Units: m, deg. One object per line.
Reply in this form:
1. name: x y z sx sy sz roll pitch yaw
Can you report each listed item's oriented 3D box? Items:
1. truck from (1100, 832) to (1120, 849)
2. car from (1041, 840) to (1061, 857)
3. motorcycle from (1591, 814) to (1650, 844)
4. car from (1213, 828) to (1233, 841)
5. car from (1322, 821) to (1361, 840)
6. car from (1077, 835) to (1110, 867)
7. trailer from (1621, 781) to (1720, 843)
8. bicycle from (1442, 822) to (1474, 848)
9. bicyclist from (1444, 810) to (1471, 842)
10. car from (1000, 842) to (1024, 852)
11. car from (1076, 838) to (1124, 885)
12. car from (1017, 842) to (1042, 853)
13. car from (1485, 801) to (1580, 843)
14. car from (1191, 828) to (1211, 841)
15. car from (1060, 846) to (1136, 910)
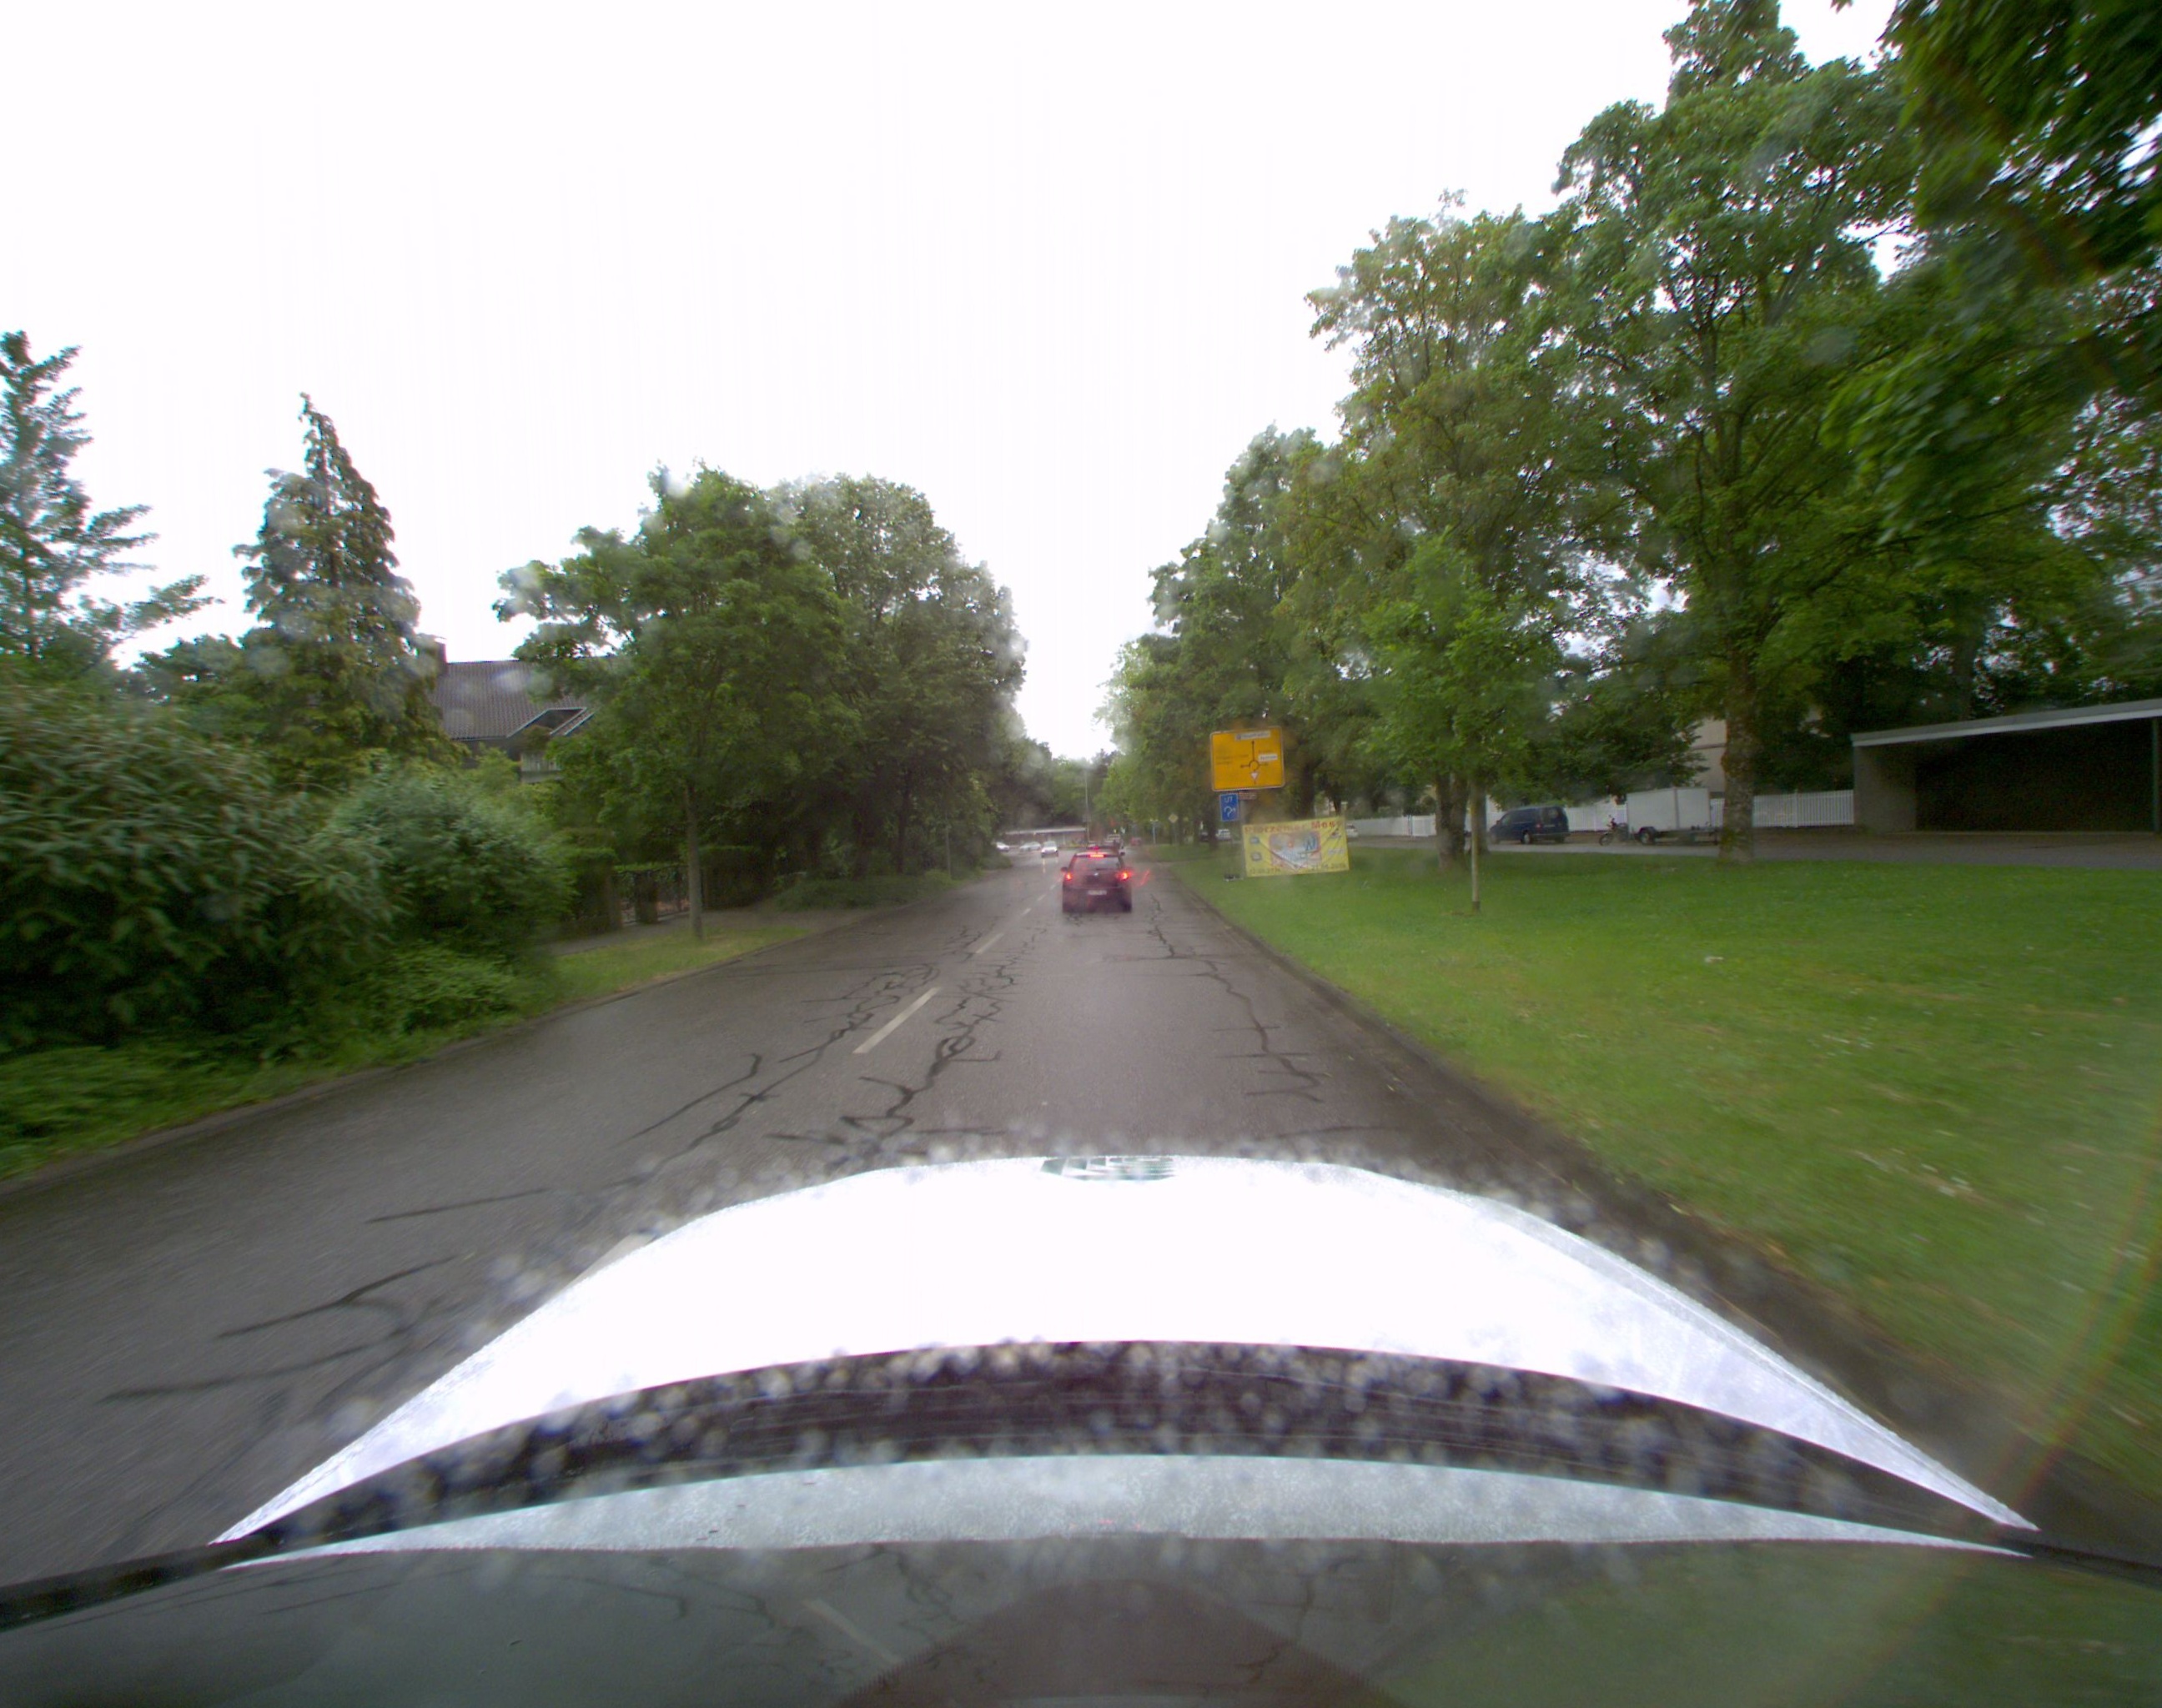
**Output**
1. truck: 3.878 -1.792 107.443 2.407 2.004 5.155 -3 1 3
2. car: -3.143 -0.583 85.203 1.758 1.614 4.142 -4 1 1
3. motorcycle: 21.878 -1.002 33.029 1.869 1.092 0.662 -2 2 21
4. car: 17.237 -2.372 98.972 1.796 1.406 4.002 -5 1 2
5. car: 21.187 -1.894 66.458 1.612 1.409 4.006 -4 2 -3
6. car: 0.804 -0.200 49.527 1.848 1.784 4.002 -3 0 2
7. trailer: 22.250 -1.526 30.837 1.433 2.154 2.947 -3 0 -3
8. bicycle: 17.017 -0.835 36.769 0.593 1.138 1.864 -2 0 2
9. bicyclist: 16.995 -1.265 36.757 0.742 1.390 1.000 -2 0 2
10. car: -11.544 -1.188 135.845 1.755 1.618 3.828 -1 1 40
11. car: 0.859 0.251 34.798 1.848 1.784 4.003 -3 1 2
12. car: -8.095 -1.036 128.279 1.592 1.427 4.035 -2 2 37
13. car: 22.108 -1.532 40.095 1.936 1.809 4.647 -5 2 -1
14. car: 14.524 -2.325 98.810 1.796 1.385 4.002 -5 1 2
15. car: 0.482 0.568 21.385 1.792 1.515 3.756 -1 1 2
